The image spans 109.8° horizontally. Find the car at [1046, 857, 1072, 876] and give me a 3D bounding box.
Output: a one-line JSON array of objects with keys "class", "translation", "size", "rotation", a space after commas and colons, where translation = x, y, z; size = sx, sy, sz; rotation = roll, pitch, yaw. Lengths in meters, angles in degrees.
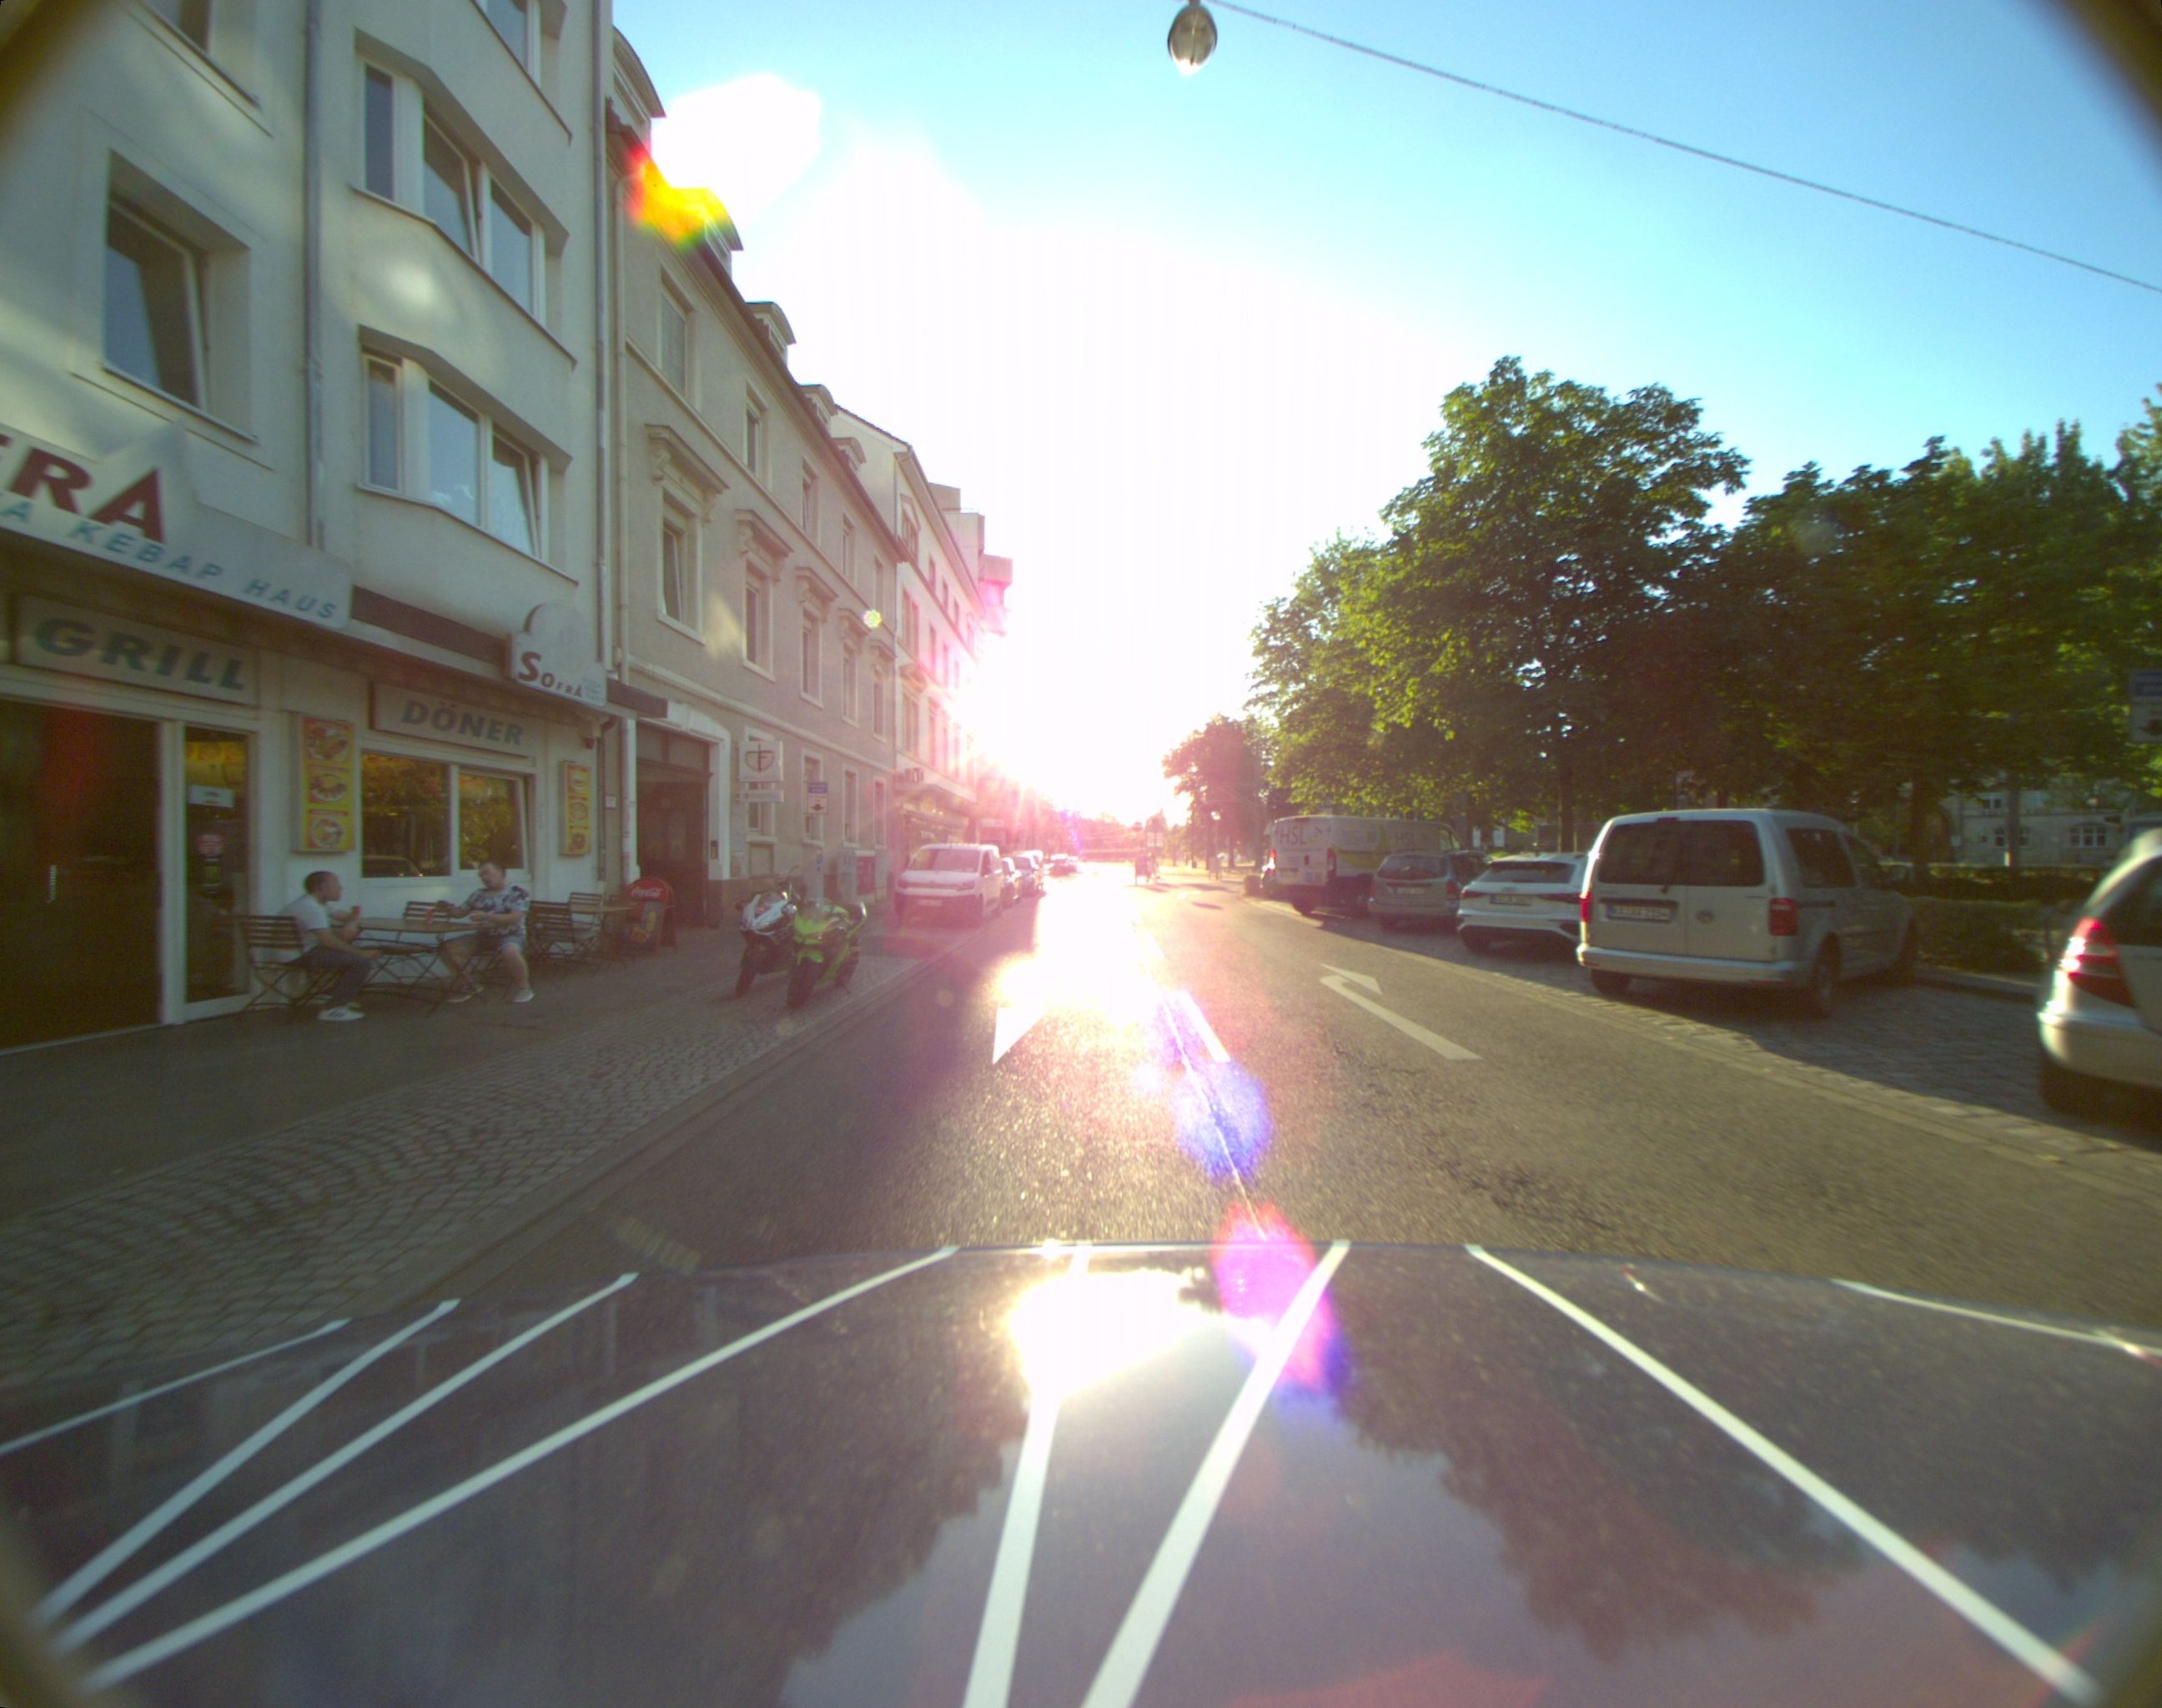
[{"class": "car", "translation": [-1.806, 0.998, 63.248], "size": [1.794, 1.498, 3.921], "rotation": [-2, 0, 2]}]

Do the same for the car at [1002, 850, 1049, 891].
[{"class": "car", "translation": [-2.540, 0.737, 35.835], "size": [1.797, 1.781, 4.092], "rotation": [-1, 0, 2]}]

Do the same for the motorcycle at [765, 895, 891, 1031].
[{"class": "motorcycle", "translation": [-2.703, 1.106, 8.394], "size": [0.589, 1.193, 2.210], "rotation": [2, 0, 1]}]

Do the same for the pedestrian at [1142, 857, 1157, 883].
[{"class": "pedestrian", "translation": [3.664, 0.836, 40.403], "size": [0.613, 1.356, 0.565], "rotation": [-1, 0, 26]}]

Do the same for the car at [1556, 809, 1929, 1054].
[{"class": "car", "translation": [6.789, 0.579, 7.696], "size": [4.007, 1.867, 1.866], "rotation": [-1, 0, -34]}]

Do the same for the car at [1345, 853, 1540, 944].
[{"class": "car", "translation": [7.016, 0.760, 14.589], "size": [4.008, 1.459, 1.878], "rotation": [-1, 0, -40]}]

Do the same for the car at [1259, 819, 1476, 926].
[{"class": "car", "translation": [6.808, 0.356, 18.052], "size": [4.619, 2.238, 2.198], "rotation": [-2, 0, -25]}]

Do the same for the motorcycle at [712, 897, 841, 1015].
[{"class": "motorcycle", "translation": [-3.508, 1.119, 8.986], "size": [0.589, 1.116, 2.210], "rotation": [-1, 0, 1]}]

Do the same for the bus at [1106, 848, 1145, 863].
[{"class": "bus", "translation": [10.568, 0.384, 183.429], "size": [3.765, 3.342, 13.689], "rotation": [-1, 0, -22]}]

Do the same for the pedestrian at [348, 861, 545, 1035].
[{"class": "pedestrian", "translation": [-5.818, 0.814, 7.045], "size": [0.957, 1.478, 0.992], "rotation": [-1, 0, 1]}]

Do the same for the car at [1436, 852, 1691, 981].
[{"class": "car", "translation": [7.179, 0.769, 11.181], "size": [4.007, 1.483, 1.845], "rotation": [-2, 0, -37]}]

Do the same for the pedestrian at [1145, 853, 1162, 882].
[{"class": "pedestrian", "translation": [3.943, 0.724, 41.358], "size": [0.693, 1.550, 0.700], "rotation": [-1, 0, 20]}]

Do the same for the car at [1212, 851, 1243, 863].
[{"class": "car", "translation": [36.190, 0.664, 187.628], "size": [7.209, 2.860, 2.305], "rotation": [0, -1, -21]}]

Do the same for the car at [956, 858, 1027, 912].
[{"class": "car", "translation": [-2.718, 0.917, 23.917], "size": [1.671, 1.535, 3.883], "rotation": [-2, 0, 1]}]

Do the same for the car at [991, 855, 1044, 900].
[{"class": "car", "translation": [-2.449, 0.879, 30.218], "size": [1.661, 1.655, 4.108], "rotation": [-2, 0, 1]}]

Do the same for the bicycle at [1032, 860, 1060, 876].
[{"class": "bicycle", "translation": [-2.392, 0.973, 51.408], "size": [1.791, 0.984, 0.542], "rotation": [2, -1, 4]}]

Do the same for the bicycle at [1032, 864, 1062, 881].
[{"class": "bicycle", "translation": [-2.097, 1.154, 47.178], "size": [1.789, 0.984, 0.543], "rotation": [2, -1, 24]}]

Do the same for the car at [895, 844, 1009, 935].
[{"class": "car", "translation": [-2.849, 0.747, 17.694], "size": [1.714, 1.824, 4.307], "rotation": [-2, 0, 2]}]

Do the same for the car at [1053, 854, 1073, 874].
[{"class": "car", "translation": [-1.695, 0.915, 72.411], "size": [1.788, 1.794, 4.401], "rotation": [-1, 0, 0]}]

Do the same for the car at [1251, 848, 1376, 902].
[{"class": "car", "translation": [7.583, 0.639, 24.727], "size": [3.890, 1.573, 1.798], "rotation": [-2, 0, -33]}]

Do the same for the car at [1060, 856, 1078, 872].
[{"class": "car", "translation": [-1.180, 1.038, 77.736], "size": [1.645, 1.519, 4.001], "rotation": [-2, 0, 2]}]

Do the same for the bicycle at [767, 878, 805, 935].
[{"class": "bicycle", "translation": [-5.929, 1.032, 15.328], "size": [0.456, 1.006, 1.711], "rotation": [-1, 1, -13]}]

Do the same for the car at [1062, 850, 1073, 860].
[{"class": "car", "translation": [-2.015, 0.149, 114.217], "size": [1.654, 1.525, 4.066], "rotation": [-1, 0, 0]}]

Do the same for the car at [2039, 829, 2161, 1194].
[{"class": "car", "translation": [7.027, 0.697, 4.274], "size": [4.007, 1.686, 1.745], "rotation": [-2, 0, -34]}]

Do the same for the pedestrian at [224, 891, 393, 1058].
[{"class": "pedestrian", "translation": [-6.330, 0.932, 6.242], "size": [0.741, 1.212, 0.793], "rotation": [1, -1, 31]}]
